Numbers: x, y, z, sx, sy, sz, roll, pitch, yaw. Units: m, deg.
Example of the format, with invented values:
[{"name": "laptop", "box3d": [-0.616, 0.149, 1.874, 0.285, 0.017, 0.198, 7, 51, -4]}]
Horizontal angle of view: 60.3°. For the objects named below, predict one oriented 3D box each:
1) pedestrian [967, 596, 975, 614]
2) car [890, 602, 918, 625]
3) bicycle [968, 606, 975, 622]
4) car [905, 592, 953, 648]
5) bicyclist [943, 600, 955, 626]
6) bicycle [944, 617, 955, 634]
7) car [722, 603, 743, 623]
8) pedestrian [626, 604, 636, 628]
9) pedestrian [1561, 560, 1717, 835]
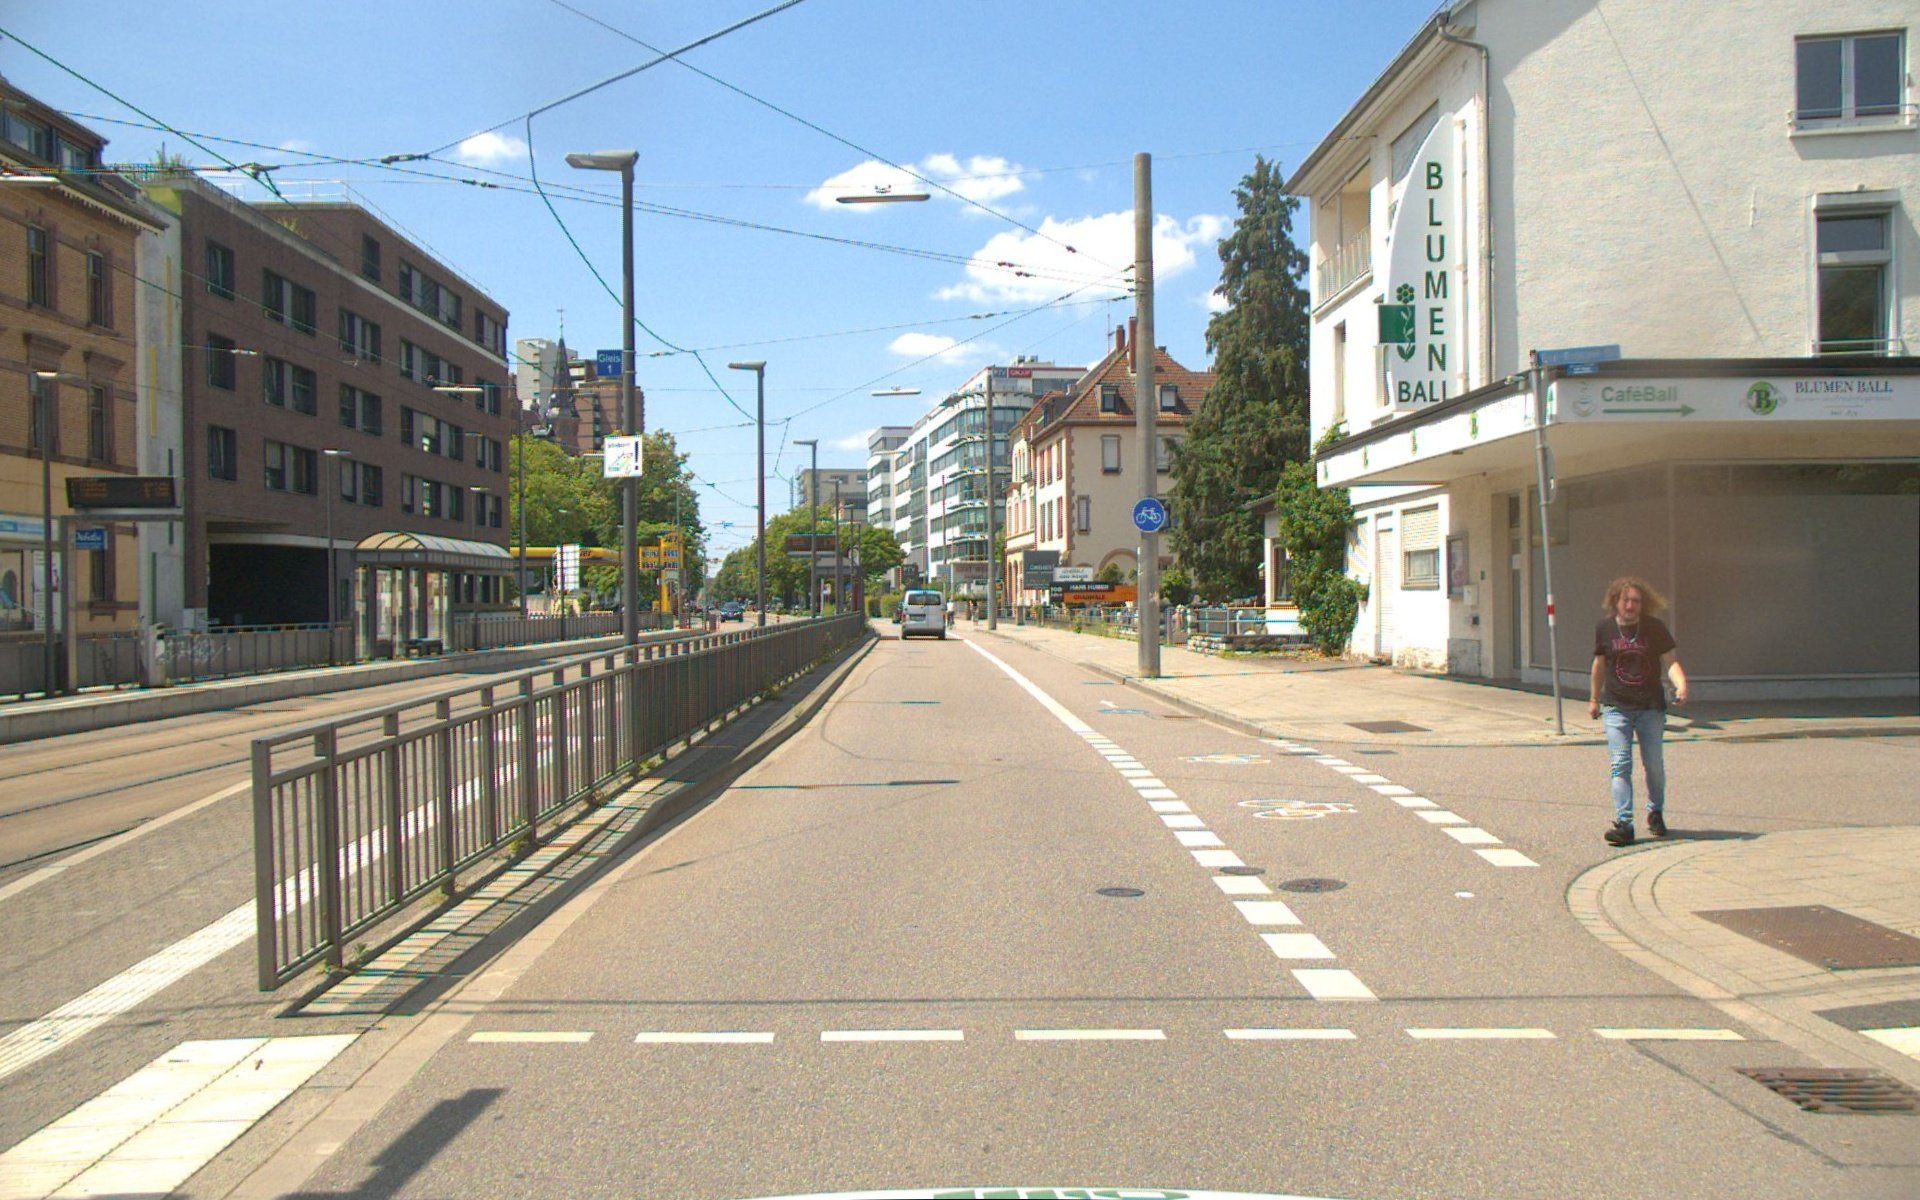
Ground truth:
[{"name": "pedestrian", "box3d": [0.661, 0.279, 100.402, 0.473, 1.072, 0.536, -3, -1, -1]}, {"name": "car", "box3d": [-4.471, 1.049, 131.586, 1.827, 1.716, 4.993, -1, 0, -7]}, {"name": "bicycle", "box3d": [0.703, 0.879, 100.394, 0.349, 0.956, 1.317, -3, -1, -1]}, {"name": "car", "box3d": [-1.244, 0.739, 64.509, 1.717, 2.048, 3.998, -2, 1, -3]}, {"name": "bicyclist", "box3d": [-0.600, 0.727, 92.216, 0.580, 1.421, 0.840, 0, 0, -6]}, {"name": "bicycle", "box3d": [-0.596, 1.402, 92.179, 0.457, 0.903, 2.045, 0, 0, -6]}, {"name": "car", "box3d": [-19.731, 1.125, 143.560, 1.666, 1.644, 3.751, -1, 0, -8]}, {"name": "pedestrian", "box3d": [-20.104, 0.984, 101.034, 0.426, 1.408, 0.535, -2, -1, -2]}, {"name": "pedestrian", "box3d": [4.124, 0.577, 10.094, 0.565, 1.583, 0.786, -3, -1, 1]}]
